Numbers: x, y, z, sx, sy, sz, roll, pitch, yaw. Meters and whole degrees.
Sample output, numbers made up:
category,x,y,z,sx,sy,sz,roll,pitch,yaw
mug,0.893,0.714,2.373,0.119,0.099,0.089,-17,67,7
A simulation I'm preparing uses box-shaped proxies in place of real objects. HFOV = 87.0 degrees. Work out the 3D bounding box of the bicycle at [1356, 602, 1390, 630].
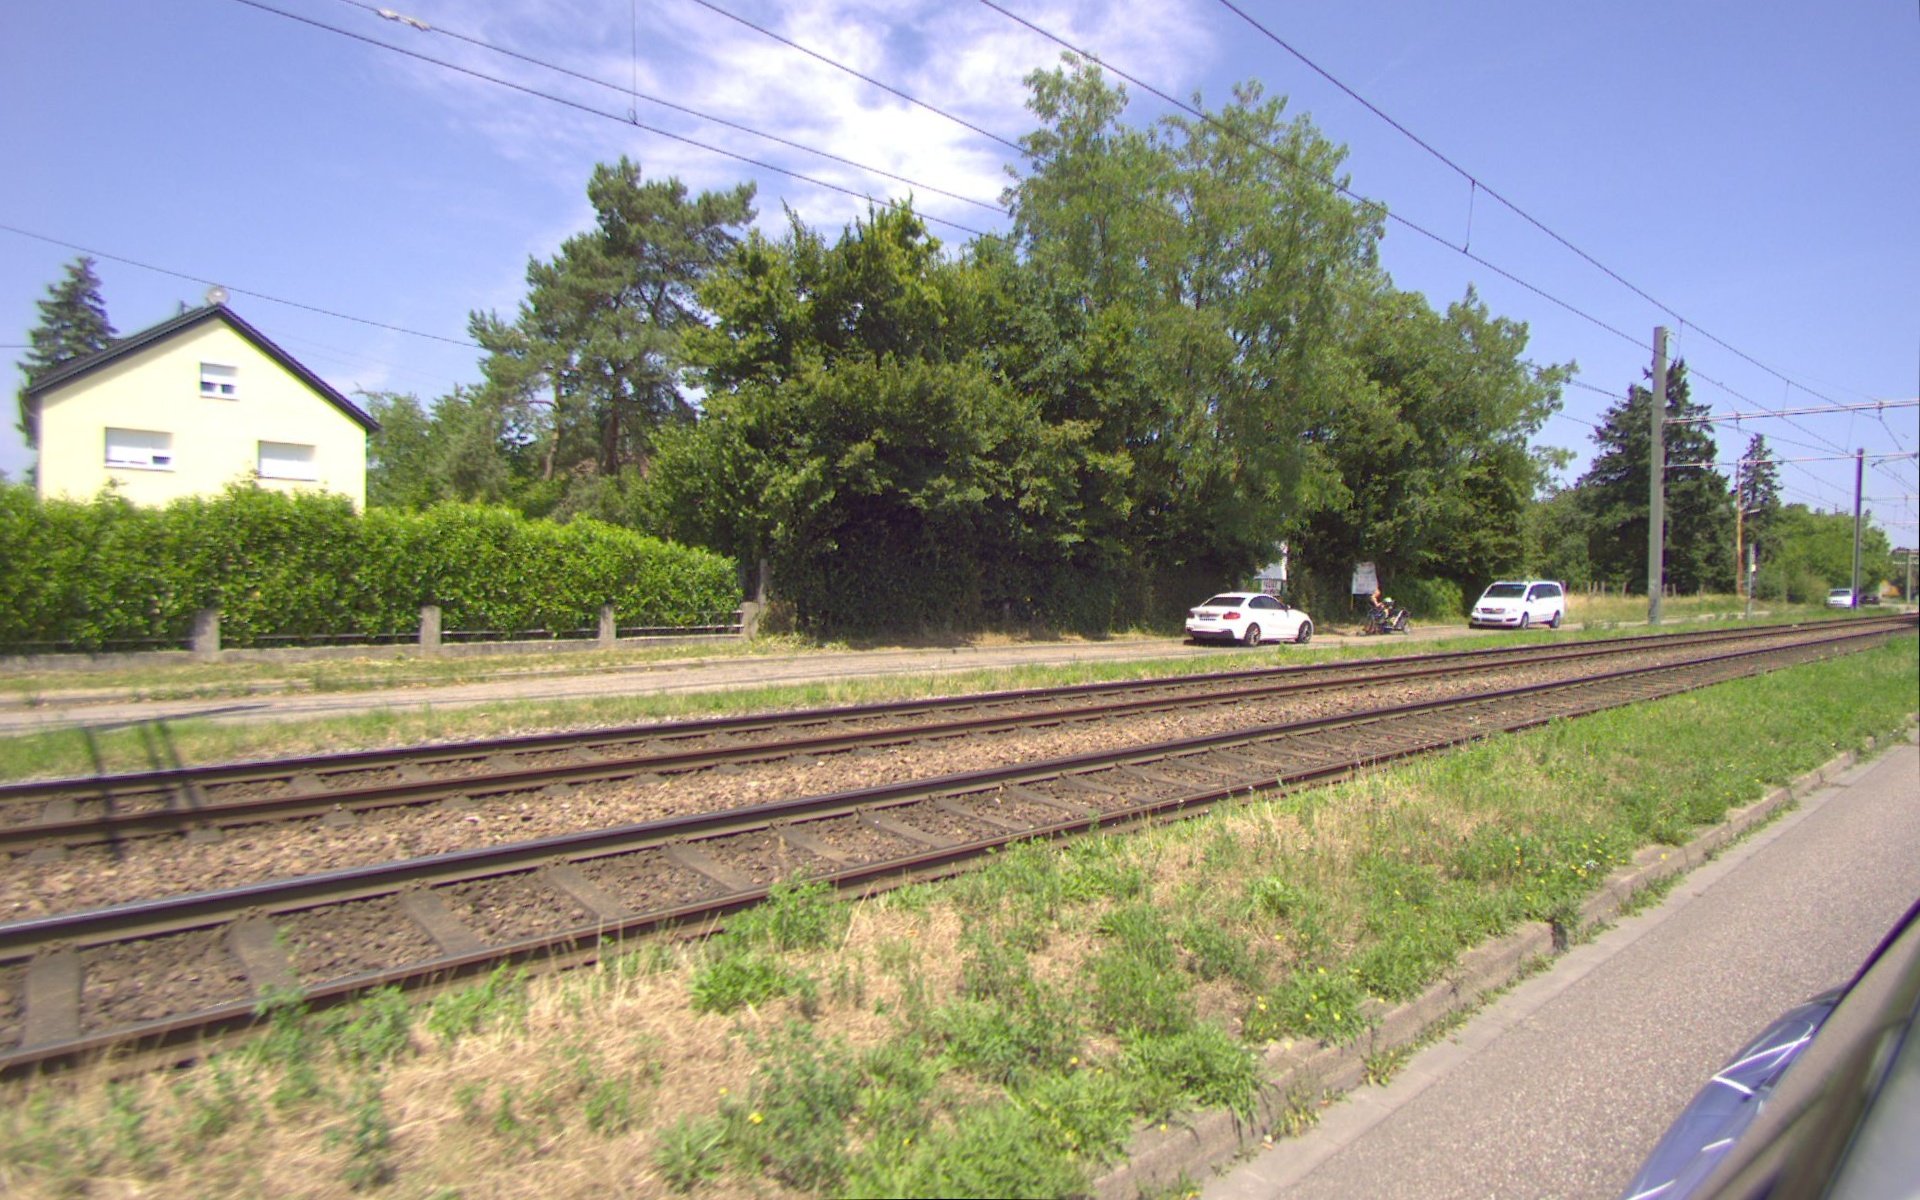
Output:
category,x,y,z,sx,sy,sz,roll,pitch,yaw
bicycle,13.844,0.540,33.918,0.784,0.886,0.750,-1,3,-41

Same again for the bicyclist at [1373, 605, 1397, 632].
category,x,y,z,sx,sy,sz,roll,pitch,yaw
bicyclist,14.677,0.630,34.925,0.522,0.886,0.750,2,3,44

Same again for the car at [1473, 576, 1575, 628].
category,x,y,z,sx,sy,sz,roll,pitch,yaw
car,22.595,0.005,40.489,4.928,1.898,1.997,-2,3,-41

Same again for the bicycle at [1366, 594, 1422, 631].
category,x,y,z,sx,sy,sz,roll,pitch,yaw
bicycle,14.881,0.398,34.676,1.630,1.160,1.147,-1,3,-41

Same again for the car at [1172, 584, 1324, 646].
category,x,y,z,sx,sy,sz,roll,pitch,yaw
car,7.963,0.349,27.770,4.549,1.467,1.800,-2,3,-41

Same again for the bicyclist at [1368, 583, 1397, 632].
category,x,y,z,sx,sy,sz,roll,pitch,yaw
bicyclist,14.221,0.247,34.056,0.609,1.608,0.911,2,3,44
